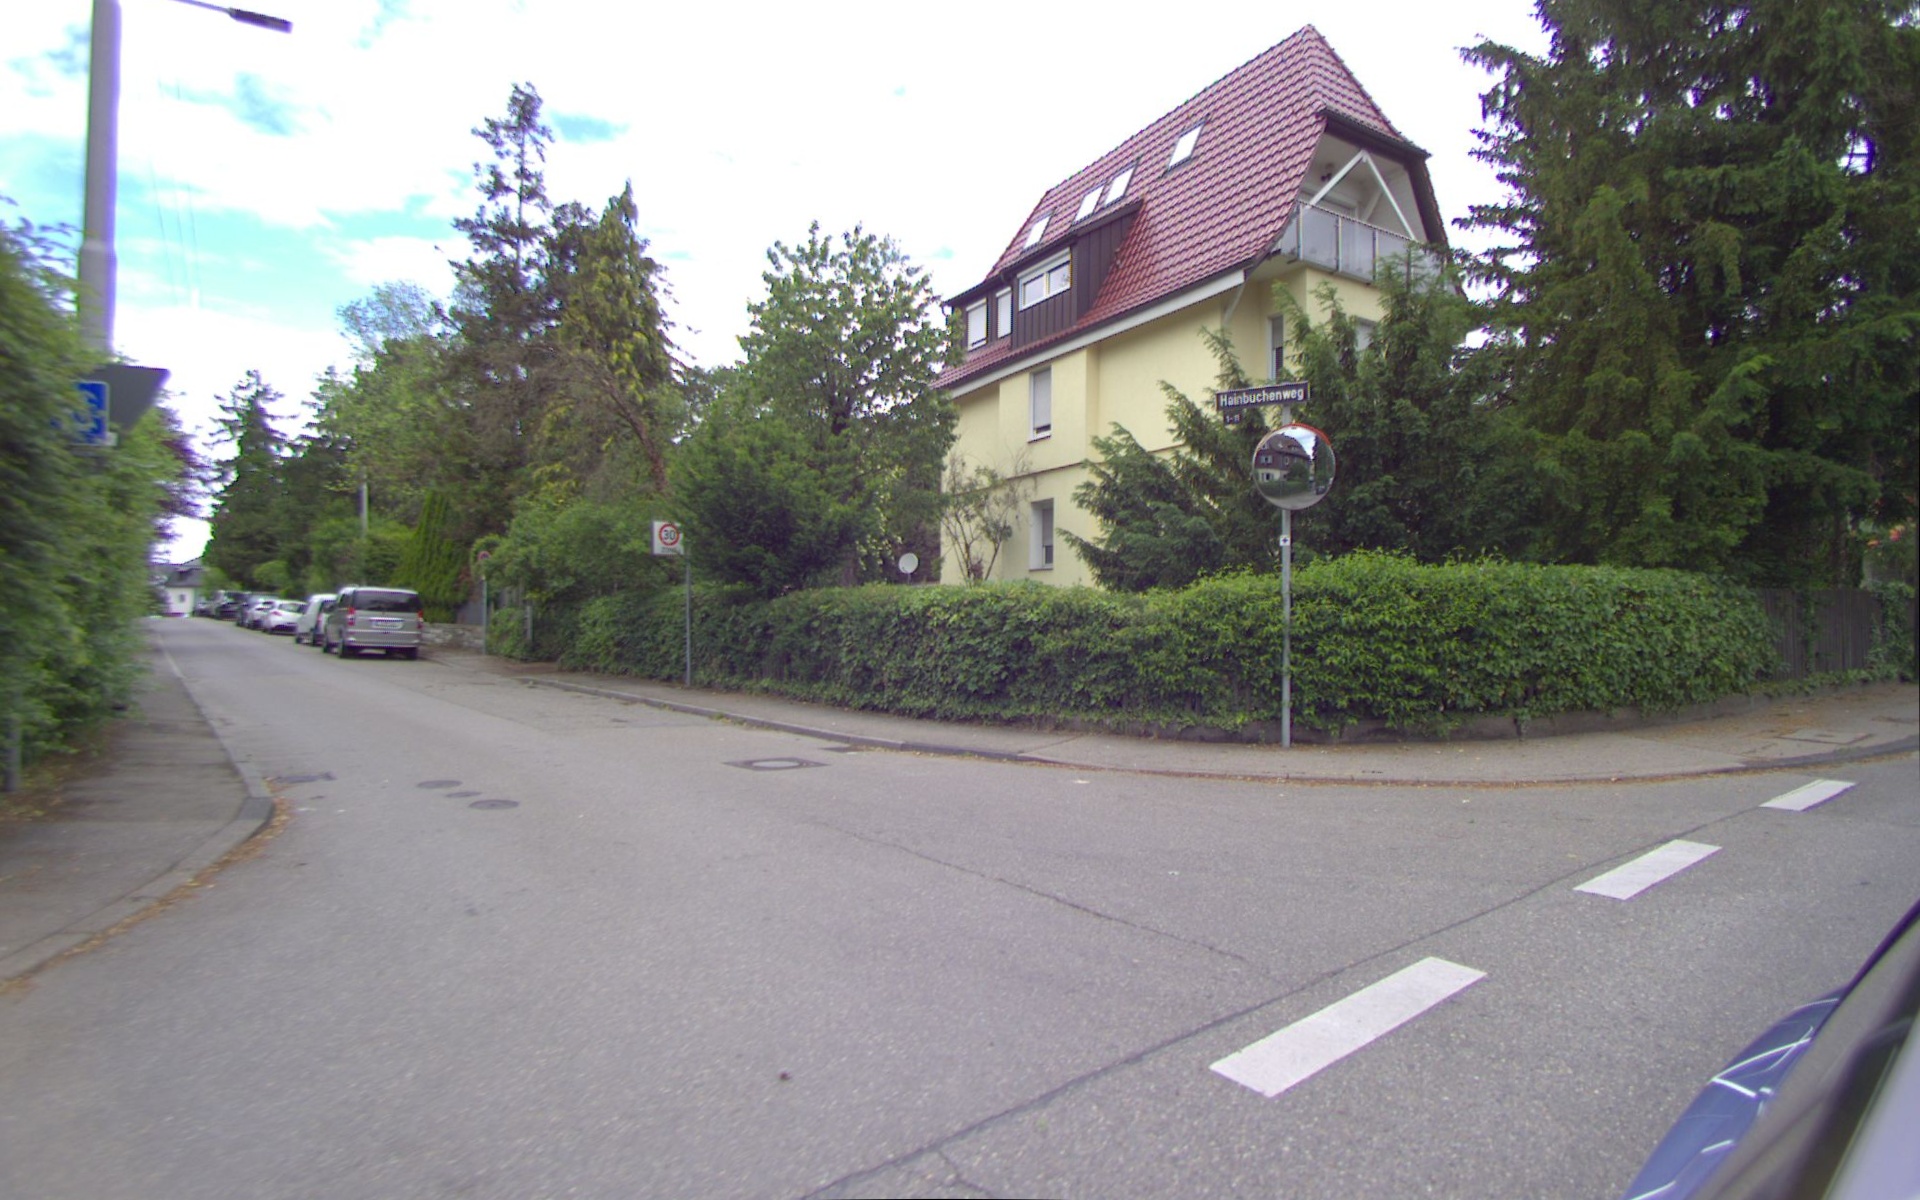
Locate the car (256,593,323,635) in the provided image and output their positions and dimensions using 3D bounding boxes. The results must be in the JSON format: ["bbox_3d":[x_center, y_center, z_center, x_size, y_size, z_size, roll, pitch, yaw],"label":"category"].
[{"bbox_3d":[-29.456,0.588,44.394,1.965,1.742,3.993,-1,0,-41],"label":"car"}]

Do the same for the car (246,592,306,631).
[{"bbox_3d":[-32.795,0.533,48.482,1.965,1.742,3.993,-1,0,-41],"label":"car"}]

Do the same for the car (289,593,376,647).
[{"bbox_3d":[-21.708,0.644,34.935,1.965,1.742,3.993,-1,0,-41],"label":"car"}]

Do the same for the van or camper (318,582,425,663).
[{"bbox_3d":[-16.673,0.557,28.547,1.963,2.039,5.022,2,0,-37],"label":"van or camper"}]
